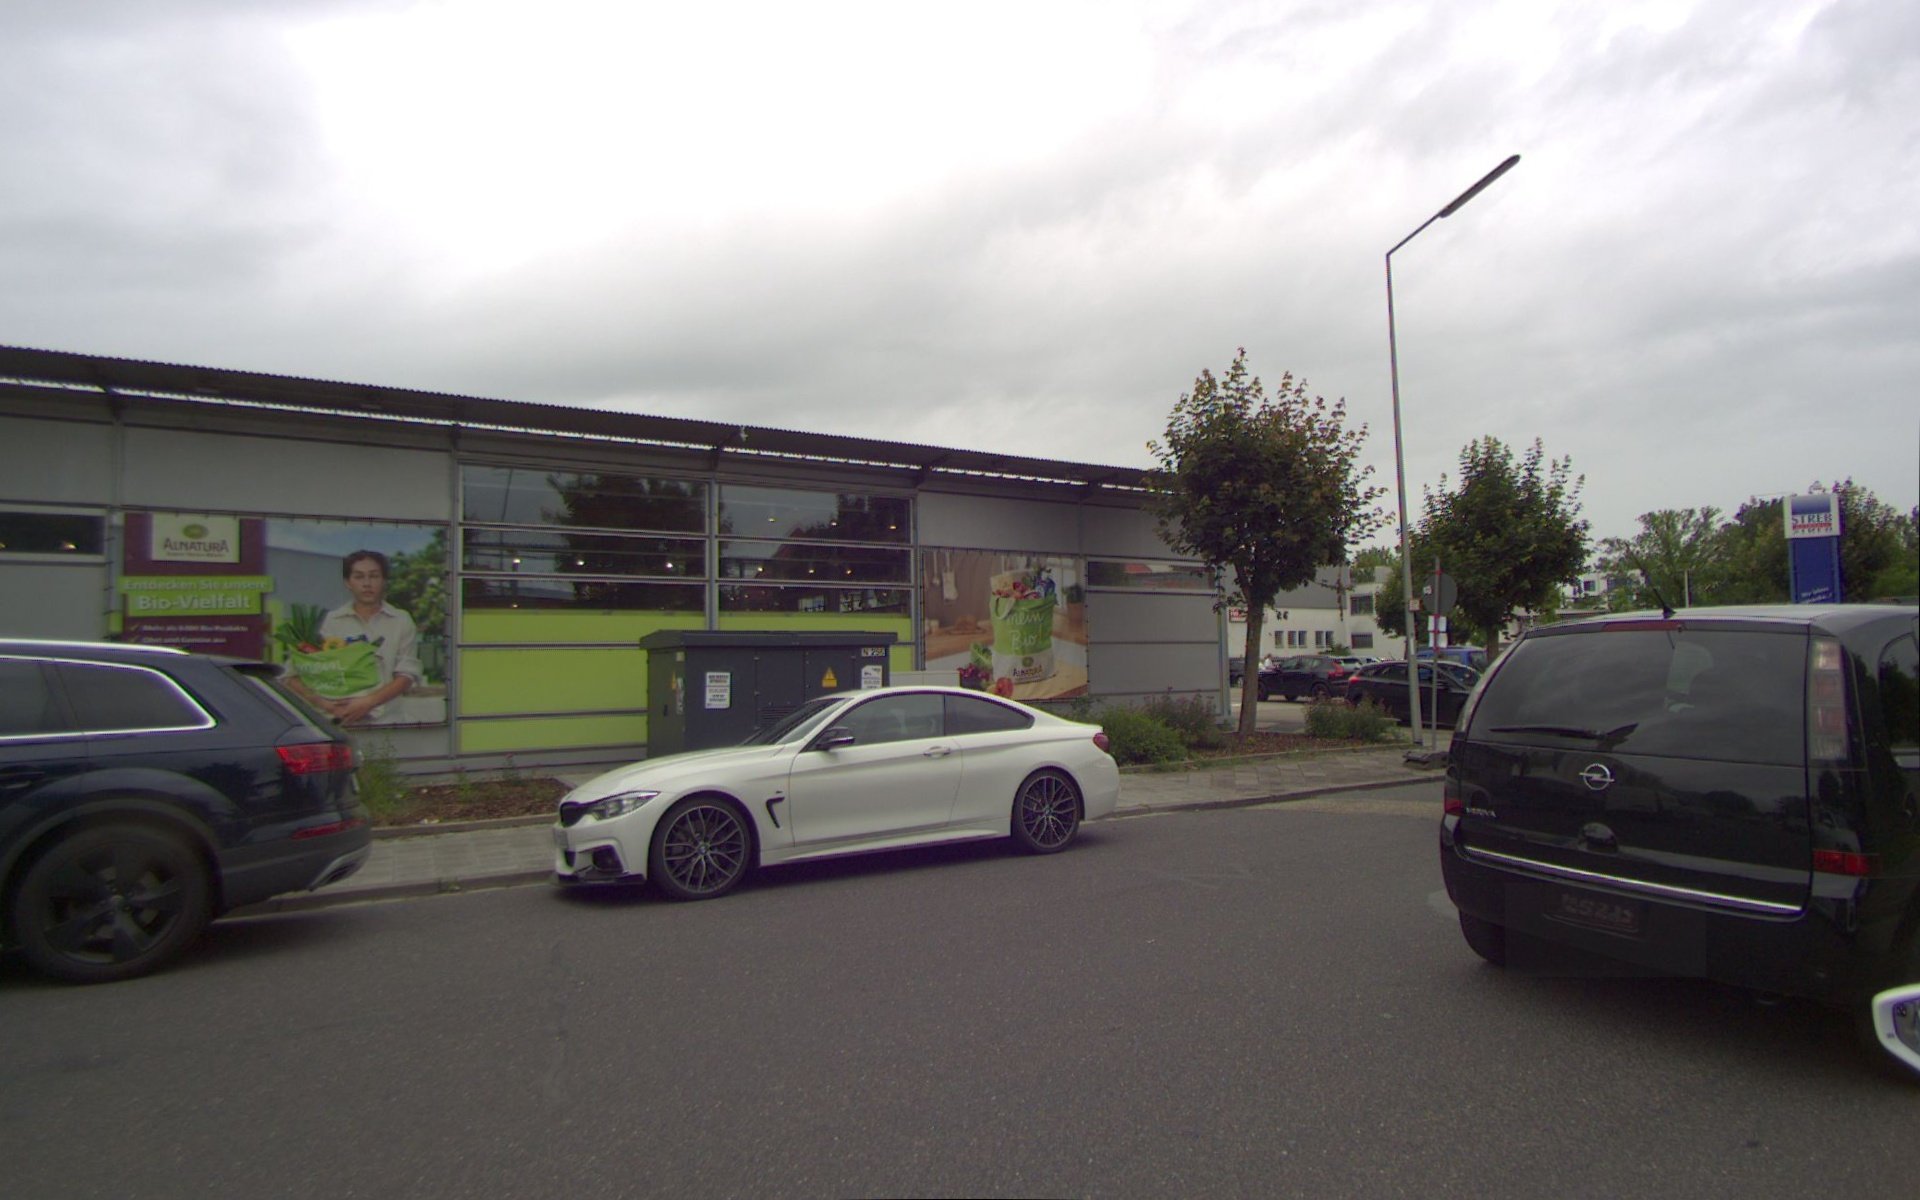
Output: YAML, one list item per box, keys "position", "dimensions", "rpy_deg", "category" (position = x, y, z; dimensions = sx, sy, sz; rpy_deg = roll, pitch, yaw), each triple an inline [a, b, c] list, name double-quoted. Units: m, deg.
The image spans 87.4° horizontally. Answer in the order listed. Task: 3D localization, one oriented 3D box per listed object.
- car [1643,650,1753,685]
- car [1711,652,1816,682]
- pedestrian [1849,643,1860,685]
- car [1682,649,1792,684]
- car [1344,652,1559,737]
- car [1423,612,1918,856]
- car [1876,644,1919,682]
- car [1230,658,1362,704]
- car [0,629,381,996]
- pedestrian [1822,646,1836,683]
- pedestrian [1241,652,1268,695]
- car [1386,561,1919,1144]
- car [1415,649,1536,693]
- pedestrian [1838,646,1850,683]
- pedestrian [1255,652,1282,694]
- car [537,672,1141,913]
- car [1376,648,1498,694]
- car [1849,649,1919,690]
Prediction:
- position: [36.951, 3.384, 50.391]
  dimensions: [1.854, 1.690, 3.971]
  rpy_deg: [1, -4, -29]
  category: "car"
- position: [42.604, 3.548, 53.358]
  dimensions: [1.764, 1.511, 3.971]
  rpy_deg: [1, -4, -29]
  category: "car"
- position: [38.248, 2.730, 42.947]
  dimensions: [0.419, 1.752, 0.260]
  rpy_deg: [2, -4, -43]
  category: "pedestrian"
- position: [39.342, 3.370, 50.955]
  dimensions: [1.854, 1.690, 3.971]
  rpy_deg: [1, -4, -29]
  category: "car"
- position: [10.661, 1.989, 22.065]
  dimensions: [1.904, 1.641, 3.857]
  rpy_deg: [1, -3, -29]
  category: "car"
- position: [6.462, 1.063, 9.050]
  dimensions: [4.442, 1.705, 1.925]
  rpy_deg: [1, -5, -30]
  category: "car"
- position: [38.854, 2.437, 39.298]
  dimensions: [1.880, 1.482, 4.110]
  rpy_deg: [2, -4, -35]
  category: "car"
- position: [11.696, 2.843, 35.080]
  dimensions: [3.943, 1.504, 1.867]
  rpy_deg: [-5, -6, 42]
  category: "car"
- position: [-5.704, 1.092, 5.143]
  dimensions: [4.672, 1.712, 1.859]
  rpy_deg: [1, -7, -29]
  category: "car"
- position: [37.951, 2.813, 43.850]
  dimensions: [0.500, 1.590, 0.355]
  rpy_deg: [2, -4, -44]
  category: "pedestrian"
- position: [12.069, 3.003, 41.183]
  dimensions: [0.690, 1.738, 0.794]
  rpy_deg: [1, -2, -34]
  category: "pedestrian"
- position: [3.882, 0.803, 4.549]
  dimensions: [3.714, 1.653, 1.674]
  rpy_deg: [1, -4, -30]
  category: "car"
- position: [20.912, 2.873, 40.896]
  dimensions: [1.854, 1.690, 3.971]
  rpy_deg: [1, -4, -29]
  category: "car"
- position: [38.318, 2.800, 43.544]
  dimensions: [0.500, 1.590, 0.327]
  rpy_deg: [2, -3, -43]
  category: "pedestrian"
- position: [12.891, 3.046, 41.961]
  dimensions: [0.690, 1.738, 0.794]
  rpy_deg: [1, -2, -34]
  category: "pedestrian"
- position: [-0.858, 1.372, 8.008]
  dimensions: [4.466, 1.384, 1.692]
  rpy_deg: [1, -9, -31]
  category: "car"
- position: [18.770, 2.799, 39.697]
  dimensions: [1.854, 1.690, 3.971]
  rpy_deg: [1, -4, -29]
  category: "car"
- position: [35.046, 2.494, 36.218]
  dimensions: [1.935, 1.482, 4.174]
  rpy_deg: [2, -4, -37]
  category: "car"
